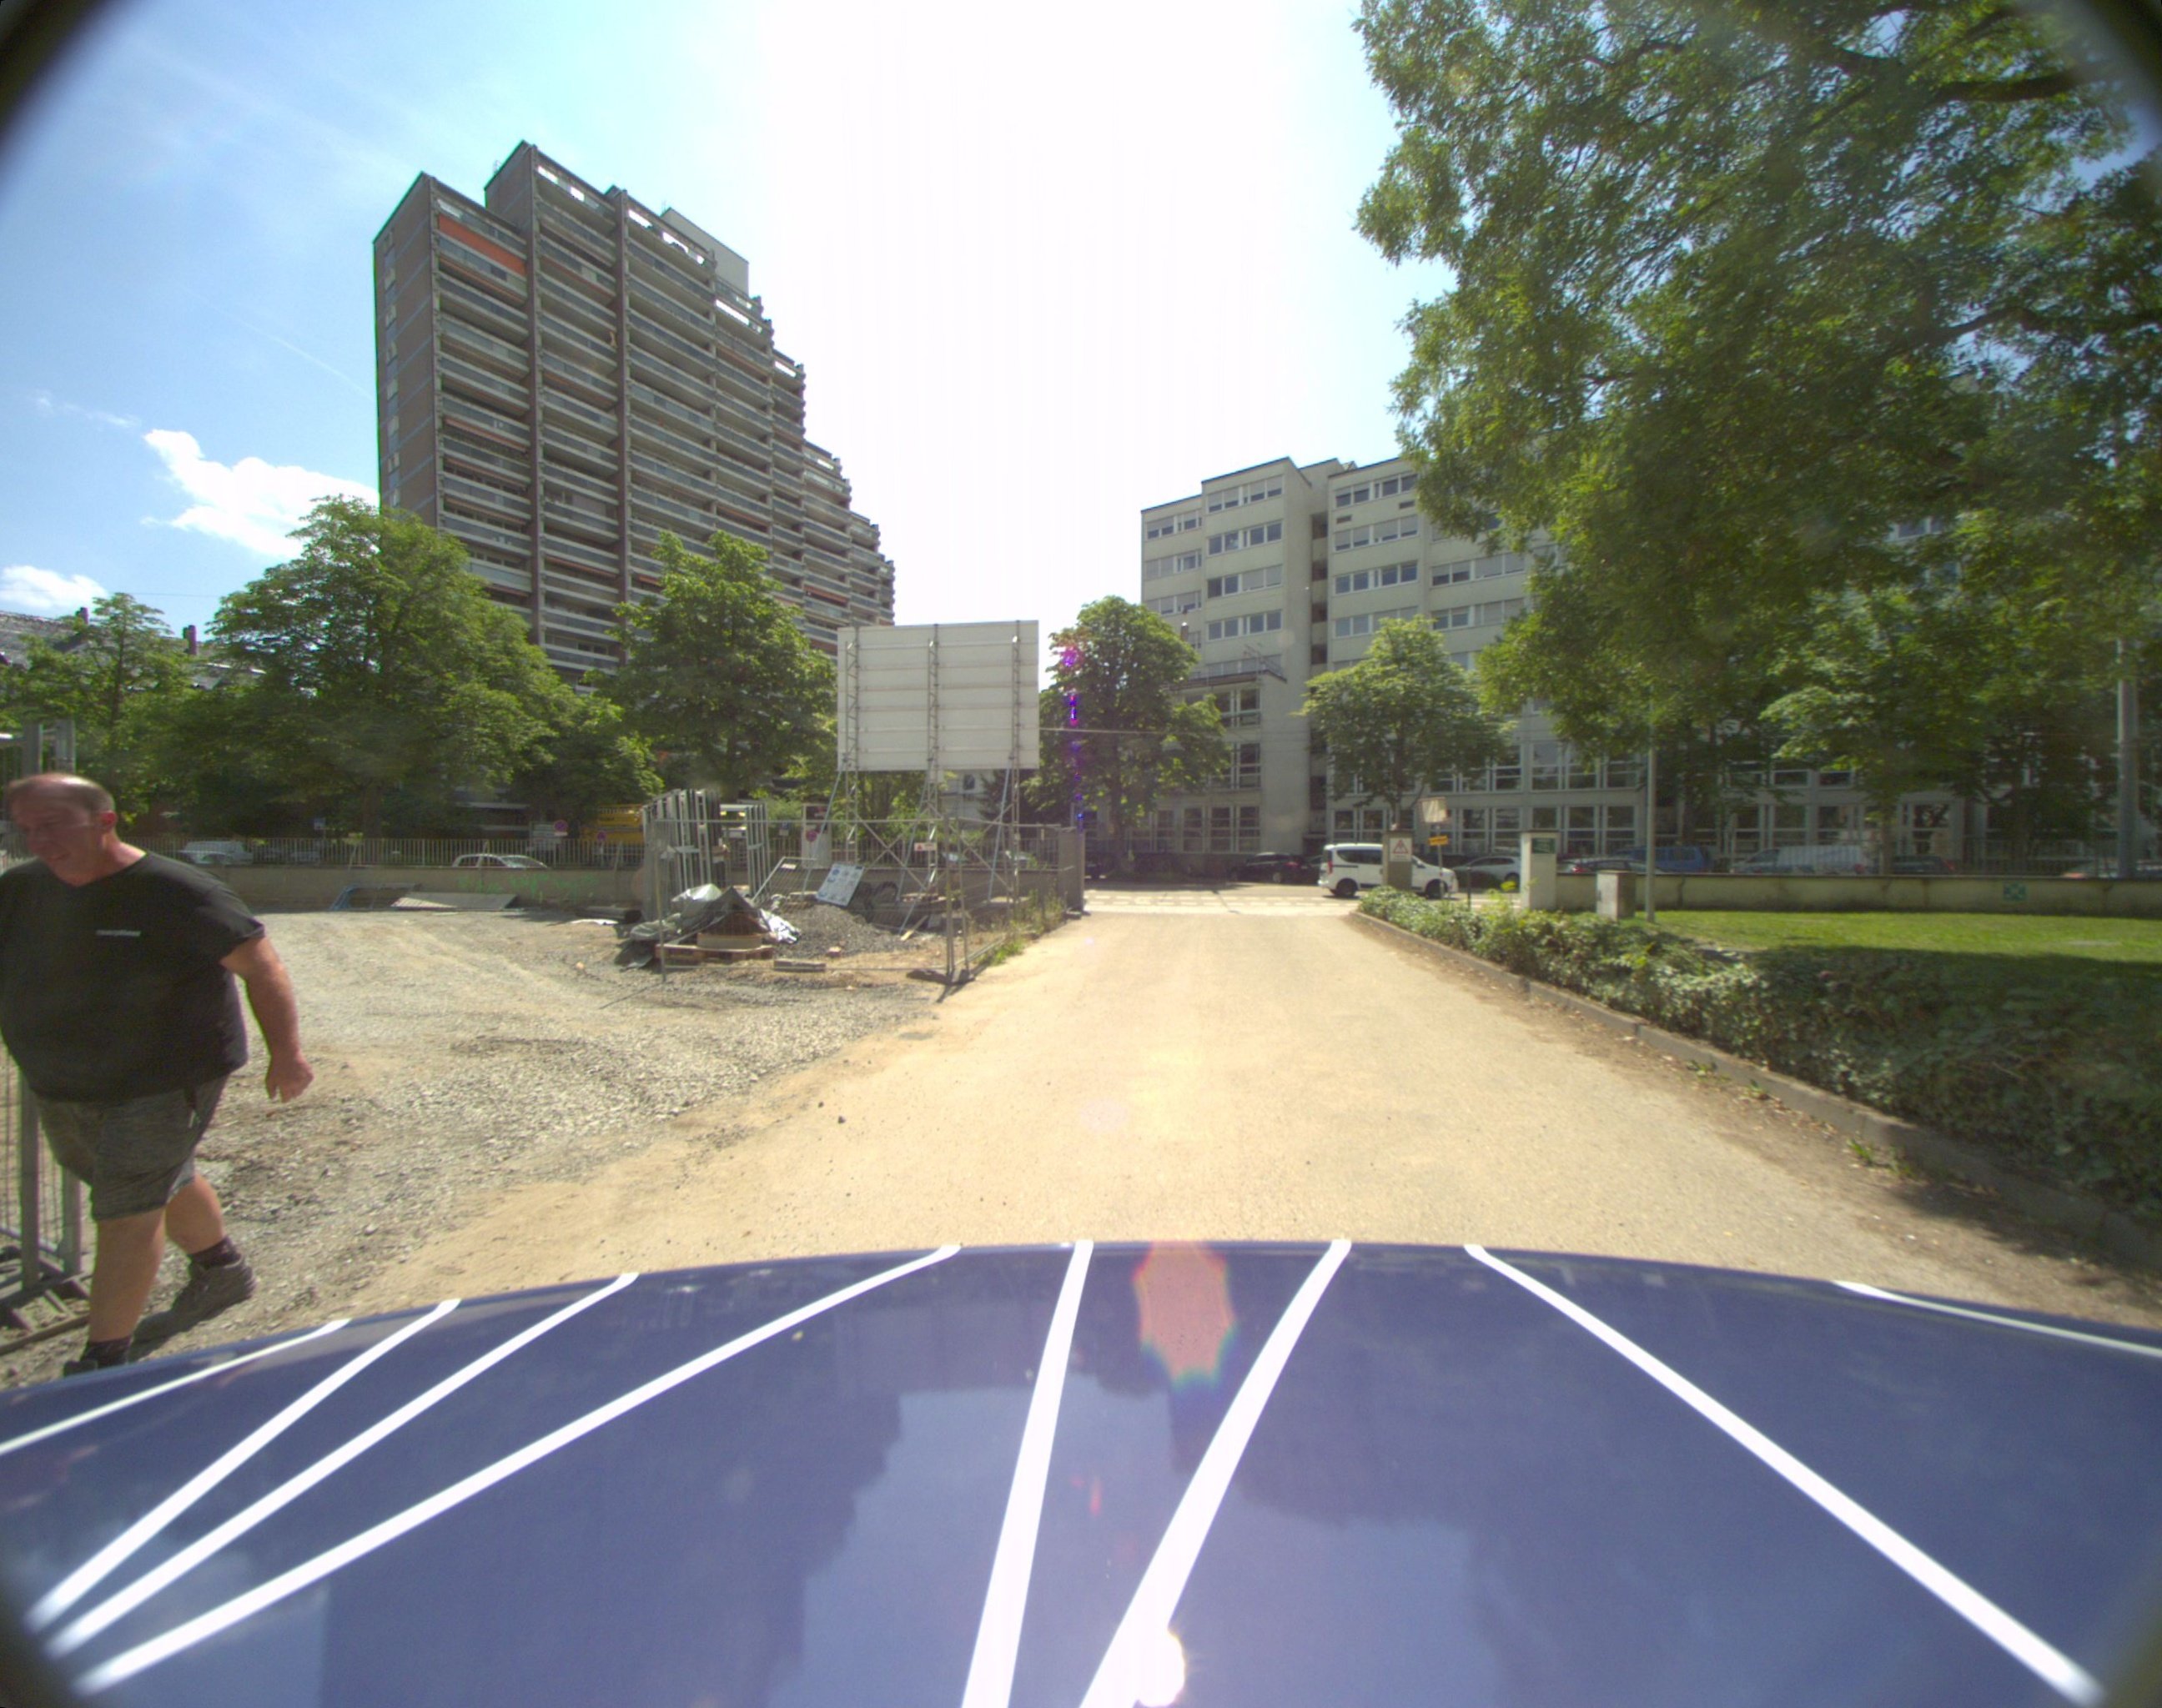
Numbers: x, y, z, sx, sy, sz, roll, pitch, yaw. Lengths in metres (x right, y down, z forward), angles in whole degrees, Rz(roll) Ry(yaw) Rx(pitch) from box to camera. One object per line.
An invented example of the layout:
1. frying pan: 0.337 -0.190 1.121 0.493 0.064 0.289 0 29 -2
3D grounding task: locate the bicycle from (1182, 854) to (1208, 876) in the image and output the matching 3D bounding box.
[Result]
1. bicycle: 6.587 0.602 43.877 0.567 1.230 1.948 1 1 39

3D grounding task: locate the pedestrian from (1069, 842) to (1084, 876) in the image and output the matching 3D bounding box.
1. pedestrian: -0.246 0.281 41.585 0.576 1.864 0.717 1 1 22

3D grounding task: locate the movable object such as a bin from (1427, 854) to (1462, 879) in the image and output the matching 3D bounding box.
1. movable object such as a bin: 19.695 0.646 41.174 1.450 1.322 1.127 0 0 9

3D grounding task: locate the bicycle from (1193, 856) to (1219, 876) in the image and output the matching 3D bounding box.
1. bicycle: 7.110 0.683 43.156 0.567 1.124 1.948 1 1 39

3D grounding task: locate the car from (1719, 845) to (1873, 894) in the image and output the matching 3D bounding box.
1. car: 31.927 0.634 34.092 2.003 2.002 4.619 0 0 -30

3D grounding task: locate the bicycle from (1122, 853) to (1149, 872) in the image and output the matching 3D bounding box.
1. bicycle: 3.273 0.516 45.632 0.567 1.124 1.948 1 1 39

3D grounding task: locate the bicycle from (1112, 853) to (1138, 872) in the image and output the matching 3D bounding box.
1. bicycle: 2.661 0.482 46.061 0.567 1.124 1.932 1 1 39

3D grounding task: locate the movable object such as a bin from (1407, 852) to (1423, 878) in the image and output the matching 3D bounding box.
1. movable object such as a bin: 18.747 0.613 42.670 0.802 1.397 0.768 0 0 22

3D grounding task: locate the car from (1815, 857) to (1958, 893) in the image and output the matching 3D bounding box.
1. car: 35.409 0.869 33.513 1.673 1.477 3.991 0 0 -26

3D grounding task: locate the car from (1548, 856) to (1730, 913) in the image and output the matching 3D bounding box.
1. car: 15.062 0.818 20.655 3.722 1.447 1.590 1 -2 4

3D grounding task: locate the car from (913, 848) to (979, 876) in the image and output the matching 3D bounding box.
1. car: -7.033 0.367 39.307 1.633 1.365 4.011 -1 1 -39

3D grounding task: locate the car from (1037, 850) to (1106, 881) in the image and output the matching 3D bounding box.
1. car: -0.511 0.556 38.558 1.653 1.508 3.566 -1 1 -38

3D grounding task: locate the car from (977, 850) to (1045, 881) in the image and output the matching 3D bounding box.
1. car: -3.641 0.553 38.809 1.823 1.454 4.012 -1 0 -32

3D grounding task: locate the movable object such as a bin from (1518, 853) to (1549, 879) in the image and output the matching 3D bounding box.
1. movable object such as a bin: 24.184 0.630 40.641 1.179 1.390 1.039 0 0 16

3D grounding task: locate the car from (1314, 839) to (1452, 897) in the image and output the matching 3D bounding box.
1. car: 10.009 0.440 25.416 3.995 1.845 1.519 0 4 6

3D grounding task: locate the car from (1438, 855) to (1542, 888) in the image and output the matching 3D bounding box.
1. car: 19.247 0.781 35.889 1.718 1.405 3.970 0 0 -39

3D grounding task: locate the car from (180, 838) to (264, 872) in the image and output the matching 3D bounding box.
1. car: -51.993 0.044 46.117 2.003 2.002 3.991 -1 1 -27

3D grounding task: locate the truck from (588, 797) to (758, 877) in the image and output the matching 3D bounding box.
1. truck: -22.287 -0.900 41.346 9.720 3.983 2.755 0 1 24

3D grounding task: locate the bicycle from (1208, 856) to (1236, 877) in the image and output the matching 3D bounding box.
1. bicycle: 7.994 0.687 43.022 0.567 1.124 2.240 1 1 39

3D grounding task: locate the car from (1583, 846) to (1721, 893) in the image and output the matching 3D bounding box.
1. car: 25.938 0.631 34.655 2.004 2.002 4.617 0 0 -38

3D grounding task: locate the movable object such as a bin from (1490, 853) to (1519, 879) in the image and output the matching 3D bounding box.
1. movable object such as a bin: 22.794 0.625 40.913 1.179 1.390 1.039 0 0 16

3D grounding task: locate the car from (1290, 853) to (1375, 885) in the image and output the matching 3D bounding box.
1. car: 12.261 0.697 37.152 1.758 1.454 3.530 0 0 -38

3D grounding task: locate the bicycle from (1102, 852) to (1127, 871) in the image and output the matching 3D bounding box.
1. bicycle: 2.064 0.470 46.547 0.567 1.124 1.932 1 1 36

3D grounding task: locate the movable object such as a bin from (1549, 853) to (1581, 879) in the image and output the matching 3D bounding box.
1. movable object such as a bin: 25.684 0.636 40.343 1.179 1.390 1.039 0 0 16

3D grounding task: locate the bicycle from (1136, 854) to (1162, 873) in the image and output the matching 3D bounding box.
1. bicycle: 4.053 0.553 45.032 0.567 1.124 1.948 1 1 39

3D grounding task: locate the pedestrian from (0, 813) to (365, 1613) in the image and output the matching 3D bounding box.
1. pedestrian: -2.857 0.811 2.110 0.871 1.809 0.966 0 1 -12

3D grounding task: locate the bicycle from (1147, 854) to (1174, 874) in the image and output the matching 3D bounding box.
1. bicycle: 4.671 0.585 44.543 0.567 1.124 1.948 1 1 39

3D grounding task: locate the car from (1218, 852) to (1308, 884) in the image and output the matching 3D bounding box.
1. car: 9.007 0.661 37.859 1.758 1.461 4.185 0 0 -38

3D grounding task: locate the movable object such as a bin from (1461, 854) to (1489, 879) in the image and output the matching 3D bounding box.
1. movable object such as a bin: 21.261 0.653 41.013 1.075 1.322 0.972 0 0 9

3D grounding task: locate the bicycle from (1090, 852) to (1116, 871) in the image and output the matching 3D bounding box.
1. bicycle: 1.371 0.439 46.906 0.567 1.124 1.932 1 1 36

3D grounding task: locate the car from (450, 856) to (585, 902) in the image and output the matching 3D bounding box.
1. car: -18.579 0.784 25.105 3.577 1.431 1.624 0 1 12

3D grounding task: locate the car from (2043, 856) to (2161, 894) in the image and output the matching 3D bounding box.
1. car: 44.971 0.913 32.916 1.754 1.380 3.987 -3 4 -39
